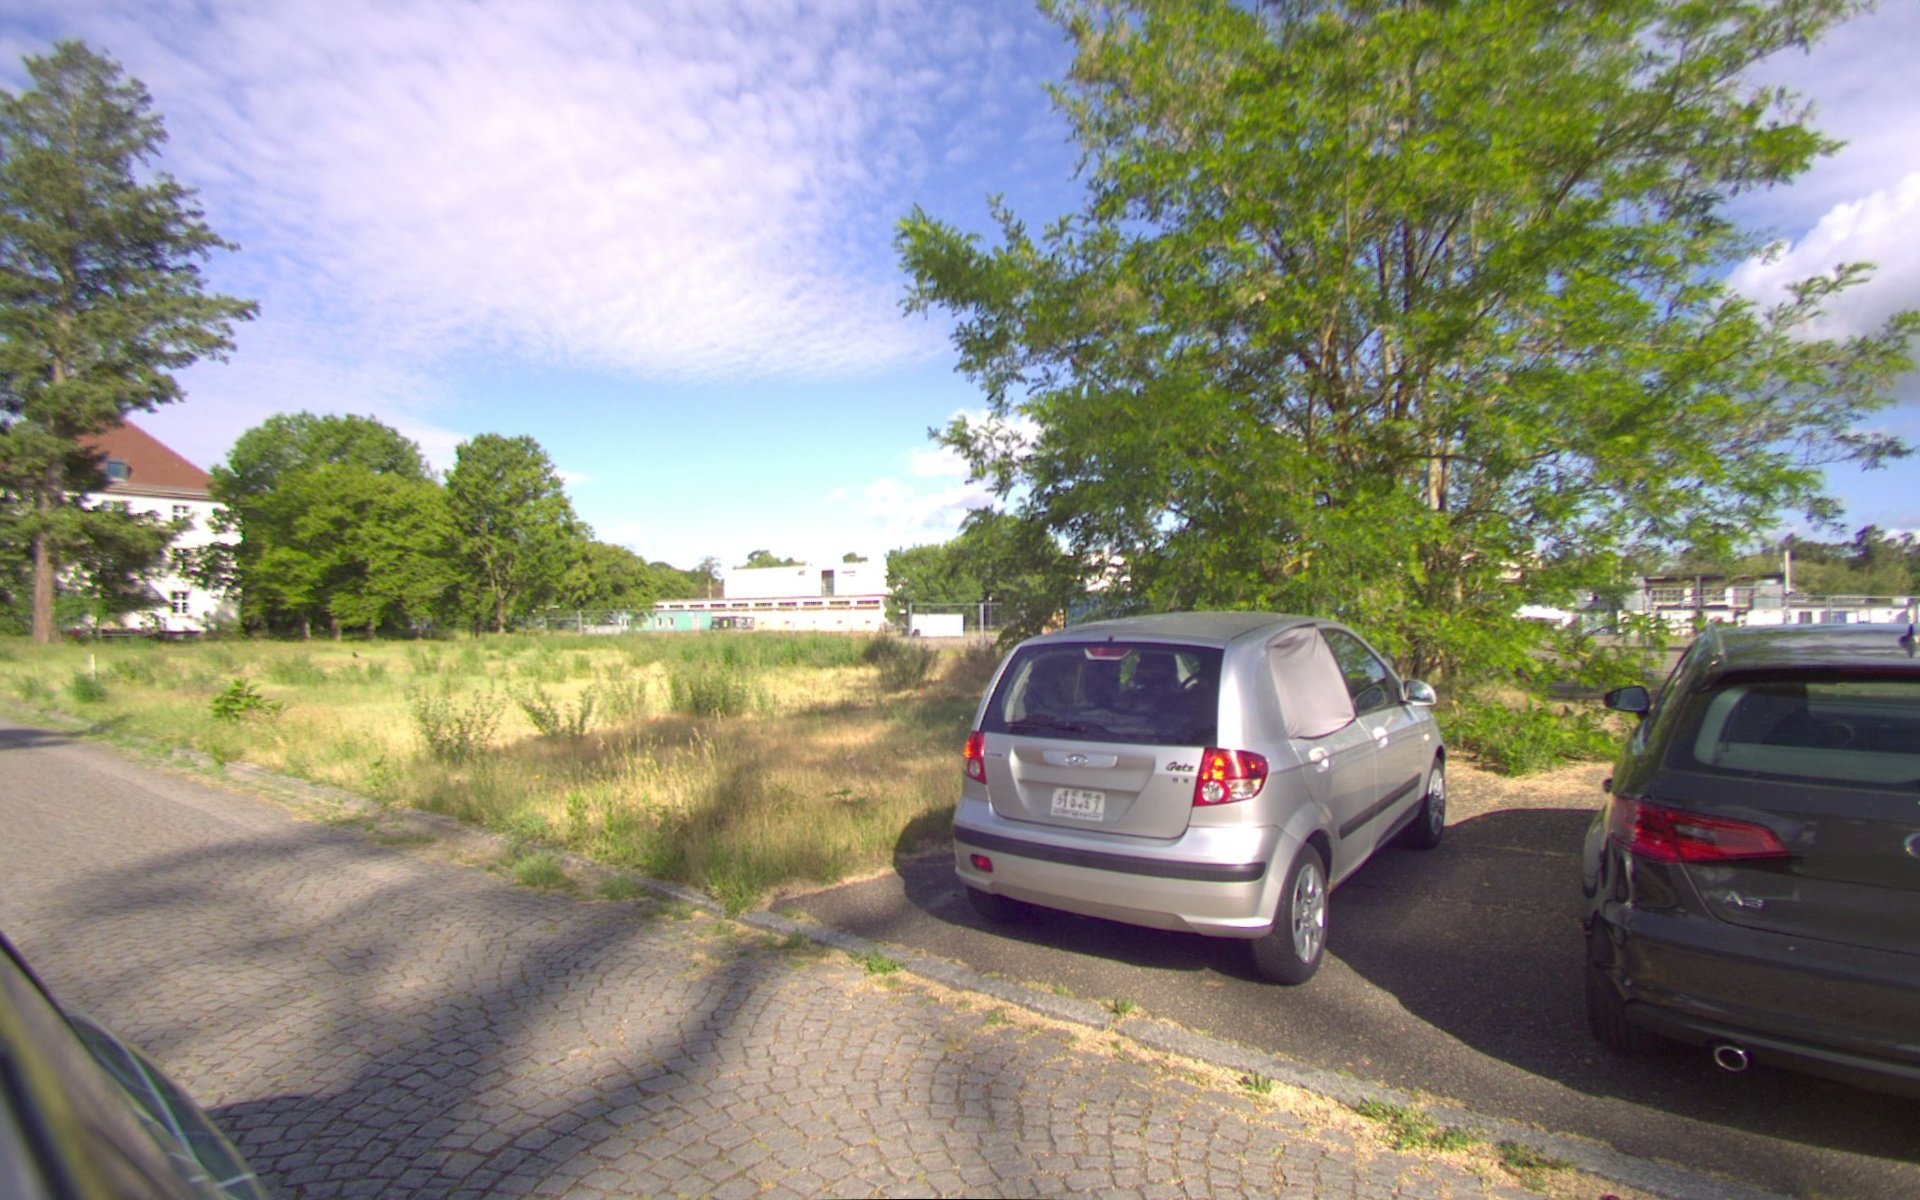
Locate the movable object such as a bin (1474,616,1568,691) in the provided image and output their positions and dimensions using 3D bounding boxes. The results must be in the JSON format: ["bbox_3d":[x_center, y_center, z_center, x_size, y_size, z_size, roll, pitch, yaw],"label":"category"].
[{"bbox_3d":[9.061,0.824,16.303,0.996,1.116,2.257,-1,-2,38],"label":"movable object such as a bin"}]

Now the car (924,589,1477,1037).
[{"bbox_3d":[1.530,0.745,5.413,1.634,1.482,3.433,-1,1,37],"label":"car"}]

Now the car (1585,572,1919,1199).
[{"bbox_3d":[3.605,0.668,3.840,1.685,1.482,3.761,-1,1,38],"label":"car"}]
